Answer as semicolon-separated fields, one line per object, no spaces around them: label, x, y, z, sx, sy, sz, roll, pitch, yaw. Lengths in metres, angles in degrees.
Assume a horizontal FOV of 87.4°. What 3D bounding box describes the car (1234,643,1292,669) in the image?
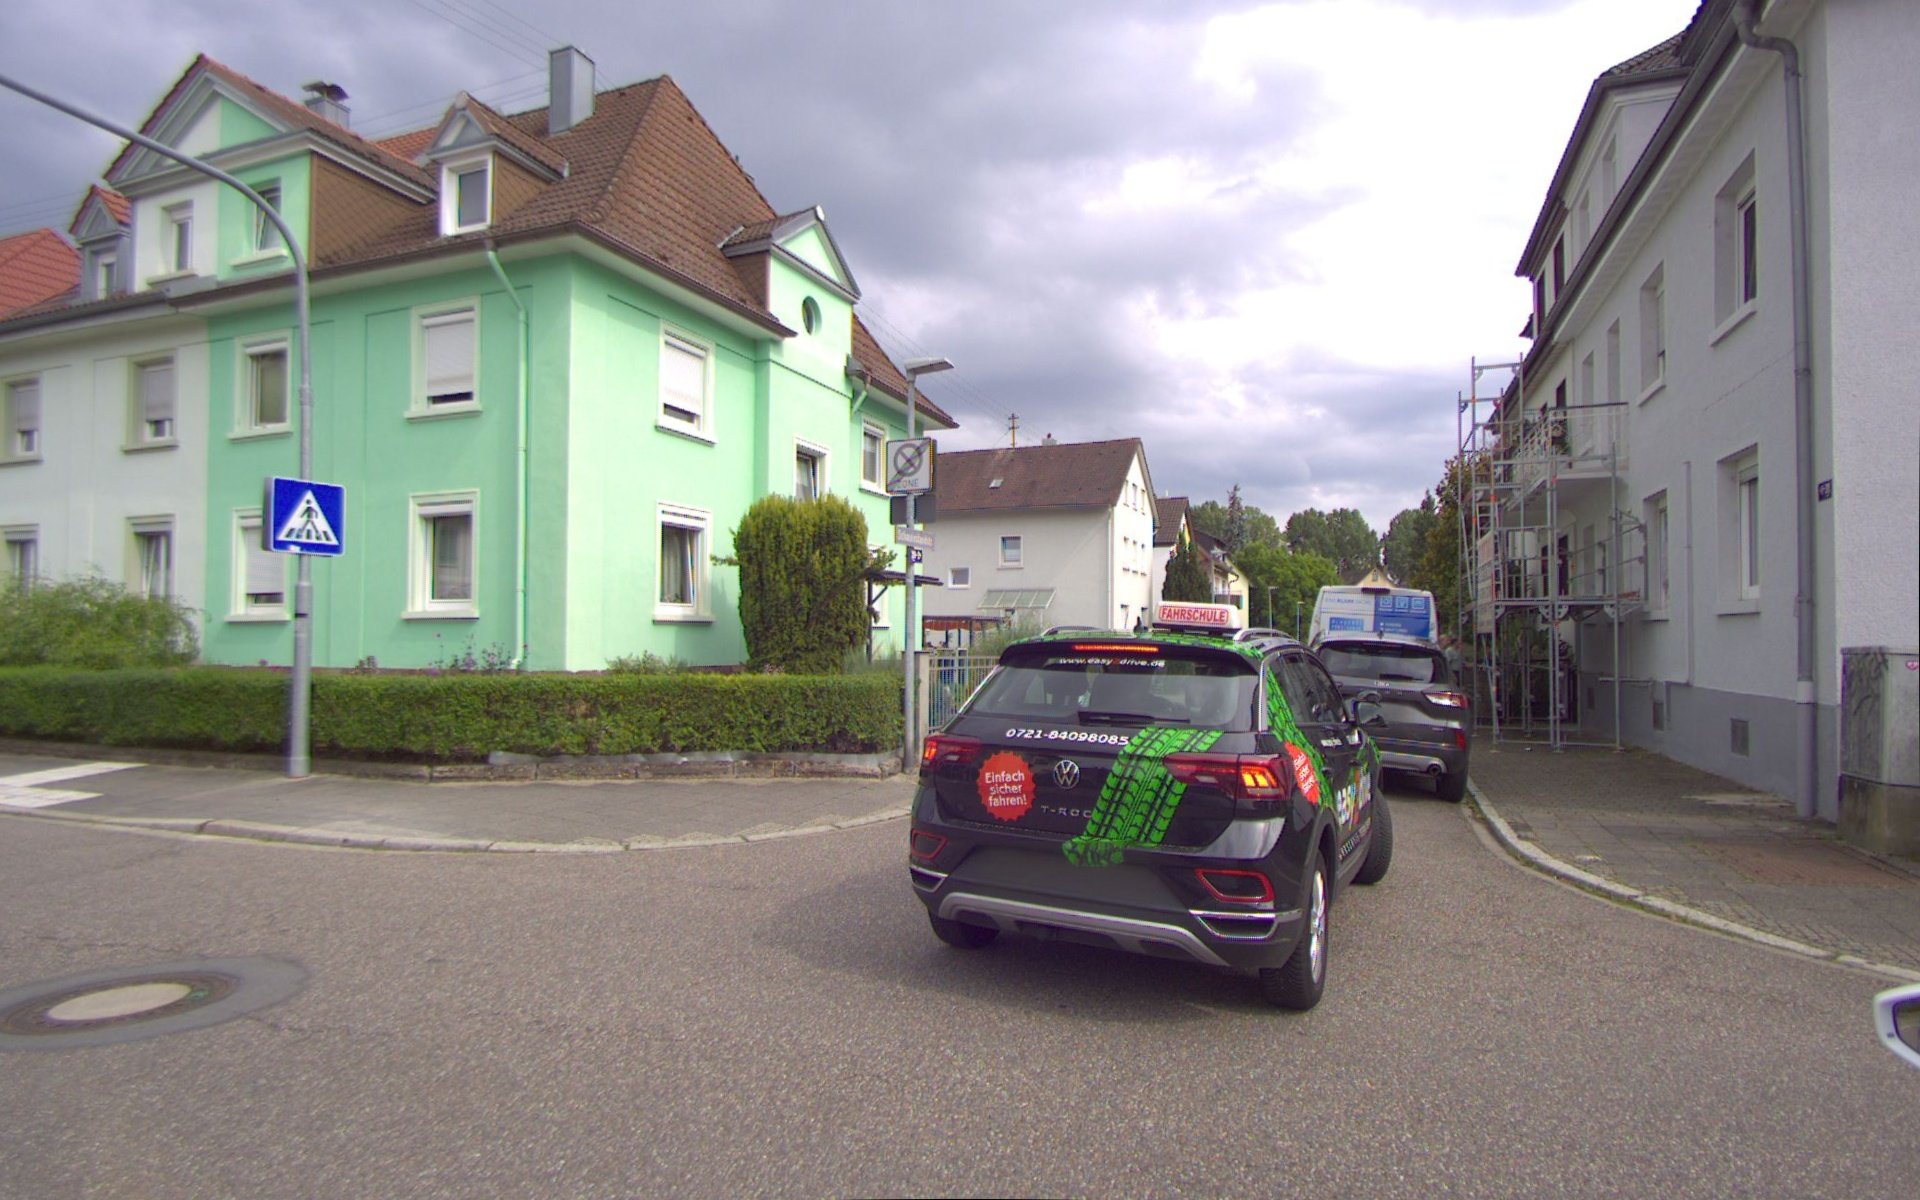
car;21.648;4.017;71.876;3.920;1.795;1.871;-1;-4;18

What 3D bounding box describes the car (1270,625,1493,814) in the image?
car;4.736;1.200;11.702;1.961;1.749;4.342;-1;-2;20

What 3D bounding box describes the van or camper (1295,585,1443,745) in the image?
van or camper;7.419;1.114;18.387;2.156;2.491;5.054;-1;-2;21

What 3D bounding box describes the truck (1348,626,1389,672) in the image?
truck;24.965;2.975;61.529;2.095;2.692;4.585;-1;-2;20

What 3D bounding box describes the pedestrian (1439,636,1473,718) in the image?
pedestrian;10.205;1.586;20.694;0.592;1.650;0.625;-1;-4;26

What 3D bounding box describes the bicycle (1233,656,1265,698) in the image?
bicycle;8.529;2.258;29.584;0.694;1.167;1.873;-2;-3;22

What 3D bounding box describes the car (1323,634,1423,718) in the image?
car;9.685;1.719;23.822;1.961;1.795;4.342;-1;-2;20

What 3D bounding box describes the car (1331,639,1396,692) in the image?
car;14.325;2.279;35.823;1.961;1.772;4.342;-1;-2;20

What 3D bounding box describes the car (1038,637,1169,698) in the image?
car;4.134;1.913;28.949;3.511;1.689;1.588;-1;-3;19

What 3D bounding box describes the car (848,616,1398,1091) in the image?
car;1.276;0.944;5.510;1.789;1.539;4.039;0;-3;28

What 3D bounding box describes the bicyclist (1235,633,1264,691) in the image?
bicyclist;8.556;1.829;29.674;0.685;1.688;0.975;-2;-3;22

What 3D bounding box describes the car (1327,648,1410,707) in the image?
car;11.508;2.129;28.532;1.961;1.474;4.342;-1;-2;20

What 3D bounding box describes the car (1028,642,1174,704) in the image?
car;3.656;1.863;26.007;3.511;1.520;1.588;-1;-3;19

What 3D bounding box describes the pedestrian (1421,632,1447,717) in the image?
pedestrian;10.083;1.582;21.375;0.401;1.785;0.513;0;-3;19
